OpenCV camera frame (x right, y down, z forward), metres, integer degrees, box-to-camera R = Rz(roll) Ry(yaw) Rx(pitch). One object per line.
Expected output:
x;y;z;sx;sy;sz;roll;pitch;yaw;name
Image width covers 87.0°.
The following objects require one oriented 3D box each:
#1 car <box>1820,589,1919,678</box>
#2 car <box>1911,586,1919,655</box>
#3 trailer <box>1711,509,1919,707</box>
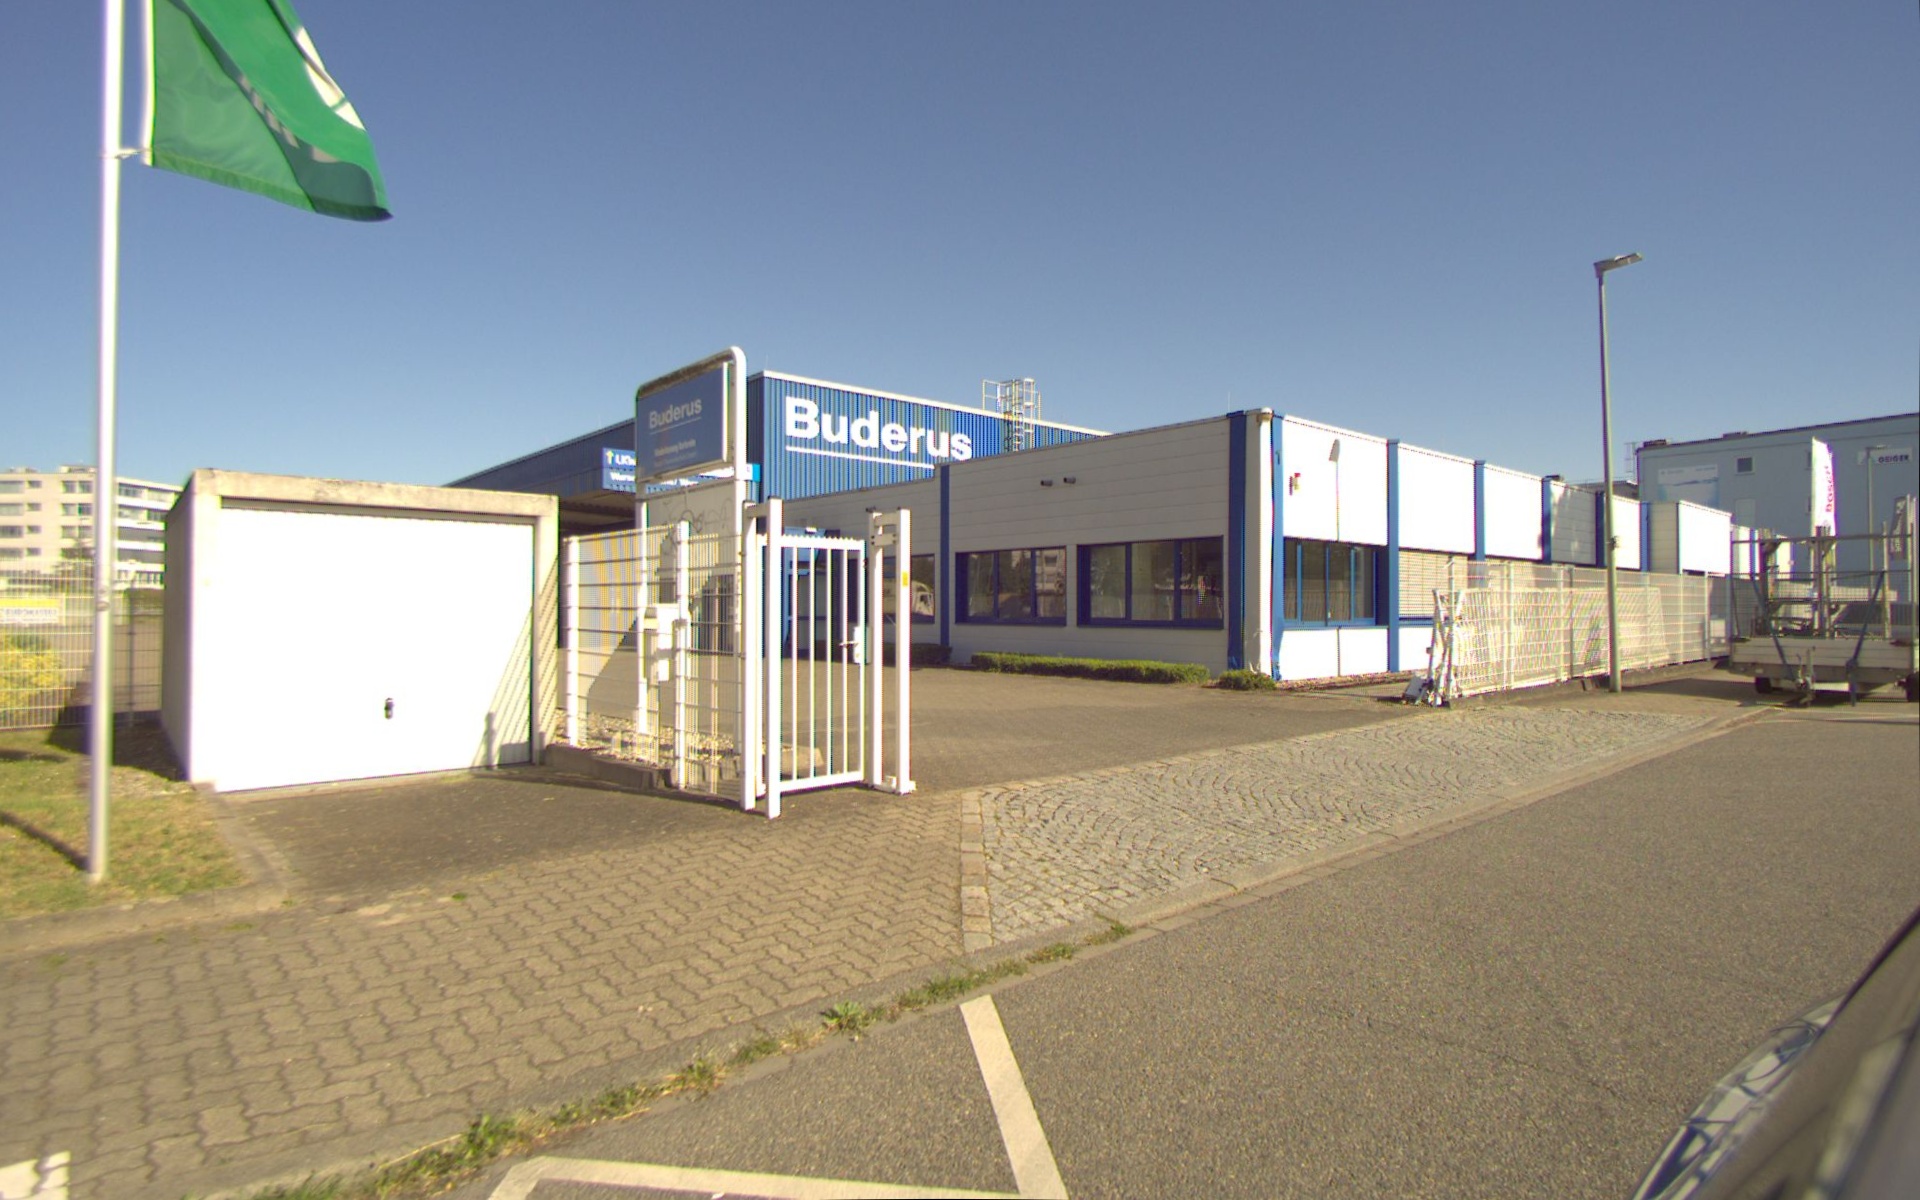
19.717;0.625;21.085;4.649;1.689;1.997;-1;-1;-41;car
28.498;0.502;28.557;5.078;1.854;1.858;-1;-1;-41;car
14.506;0.085;16.519;5.602;2.706;2.464;0;0;-41;trailer
